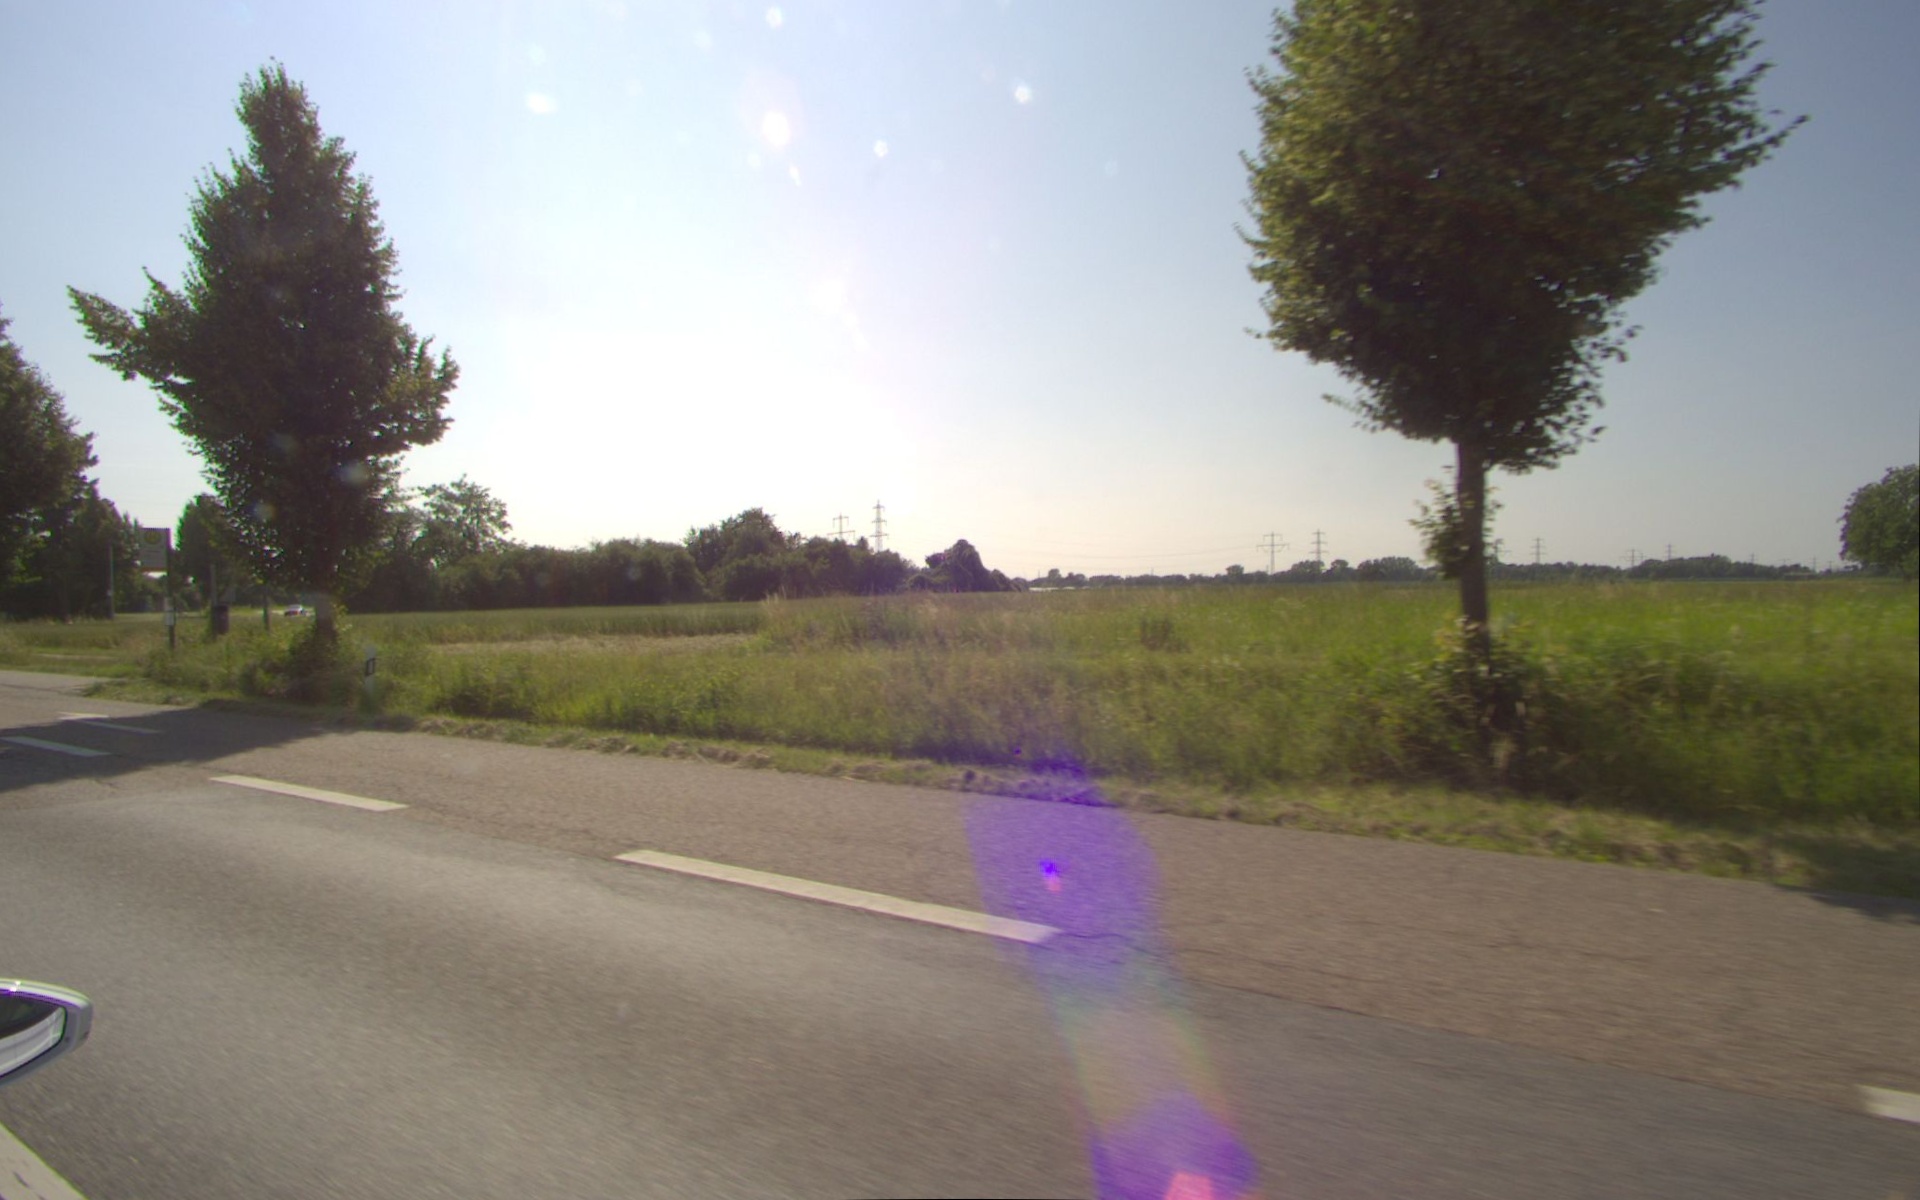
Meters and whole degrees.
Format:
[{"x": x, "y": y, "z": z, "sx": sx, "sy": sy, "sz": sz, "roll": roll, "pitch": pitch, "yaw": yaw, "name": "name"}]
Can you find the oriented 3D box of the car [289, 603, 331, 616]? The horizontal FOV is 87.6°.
[{"x": -73.209, "y": 1.034, "z": 112.809, "sx": 1.649, "sy": 1.417, "sz": 3.997, "roll": 0, "pitch": 0, "yaw": 10, "name": "car"}]
